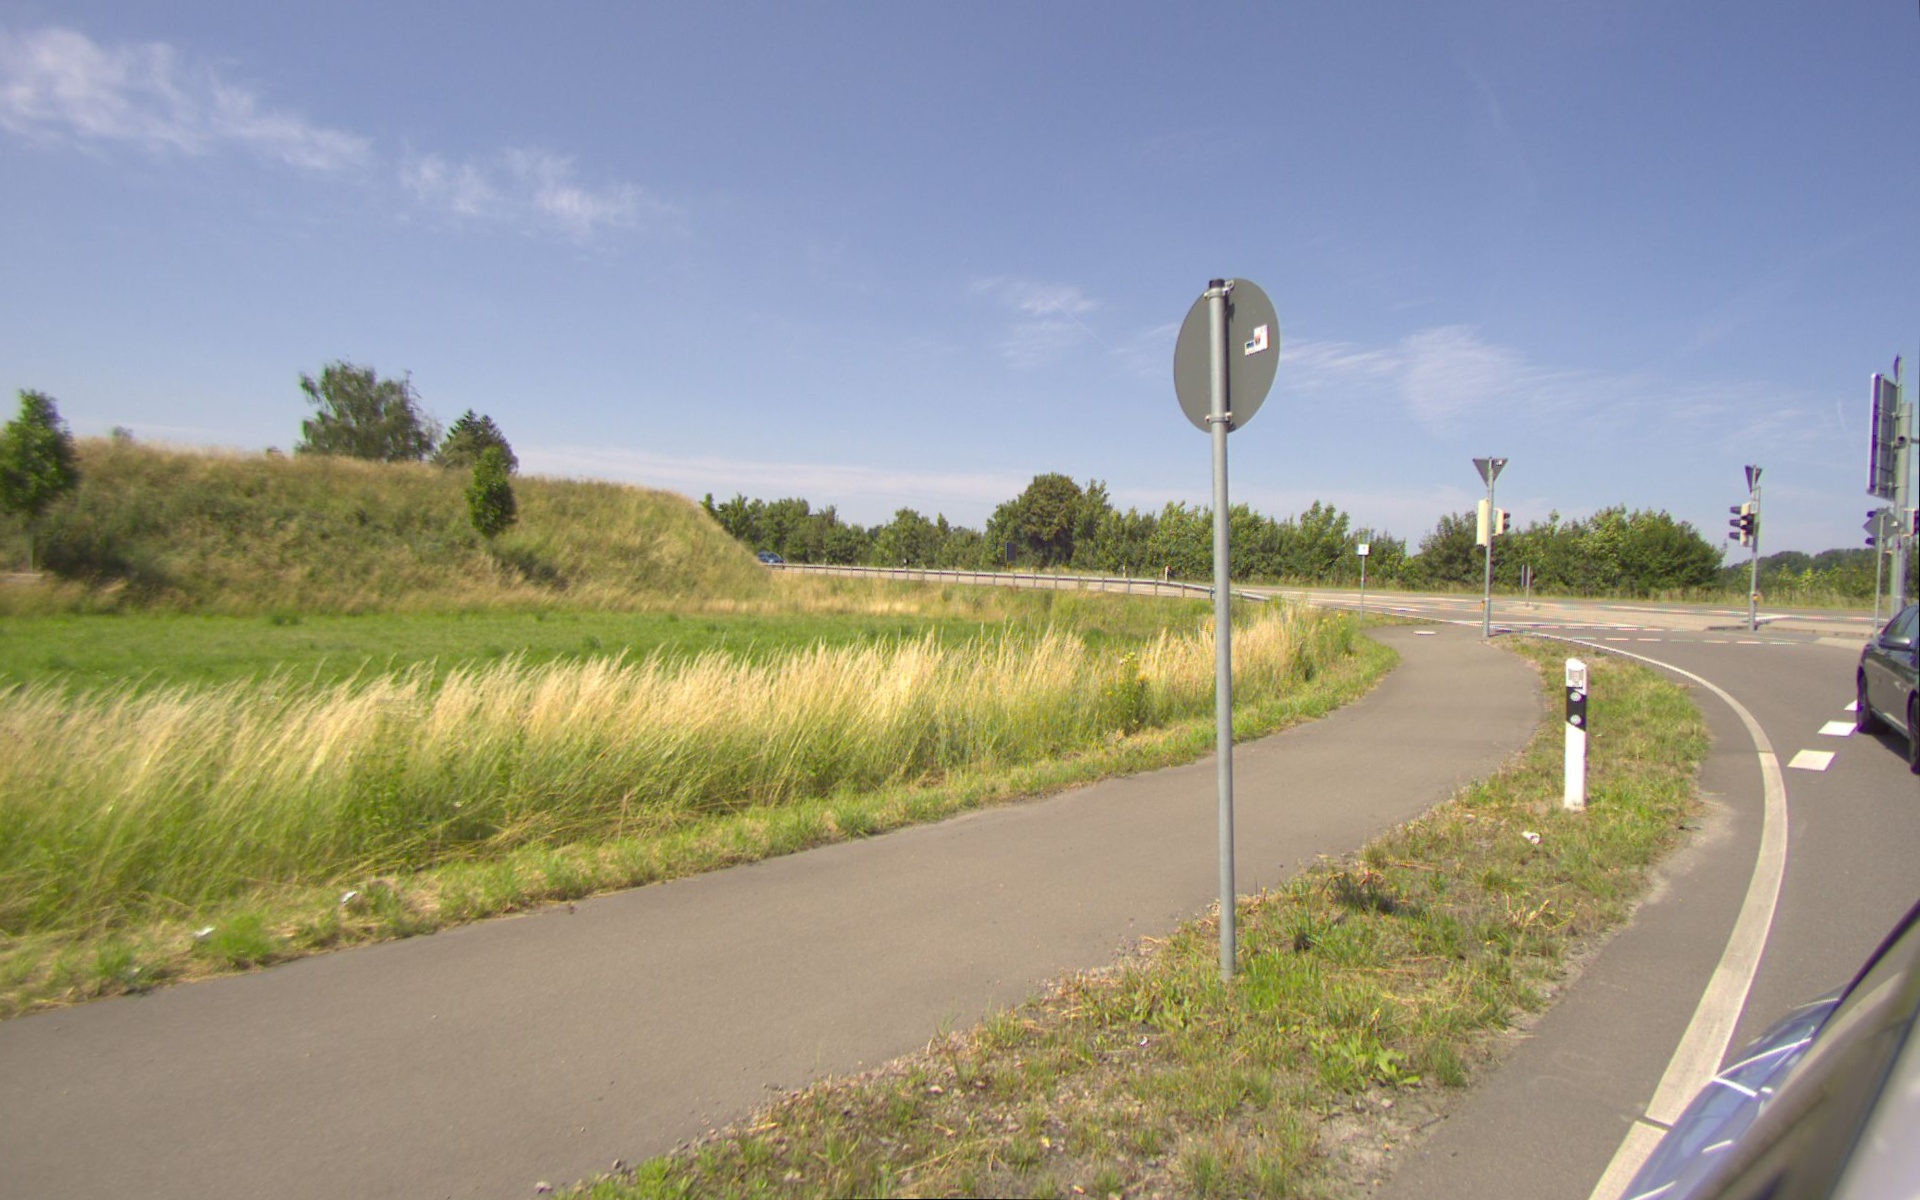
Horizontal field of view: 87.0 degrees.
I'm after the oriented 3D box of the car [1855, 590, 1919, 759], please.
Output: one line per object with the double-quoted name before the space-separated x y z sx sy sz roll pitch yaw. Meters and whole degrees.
"car" 9.776 0.659 9.205 1.883 1.465 4.470 1 1 34
